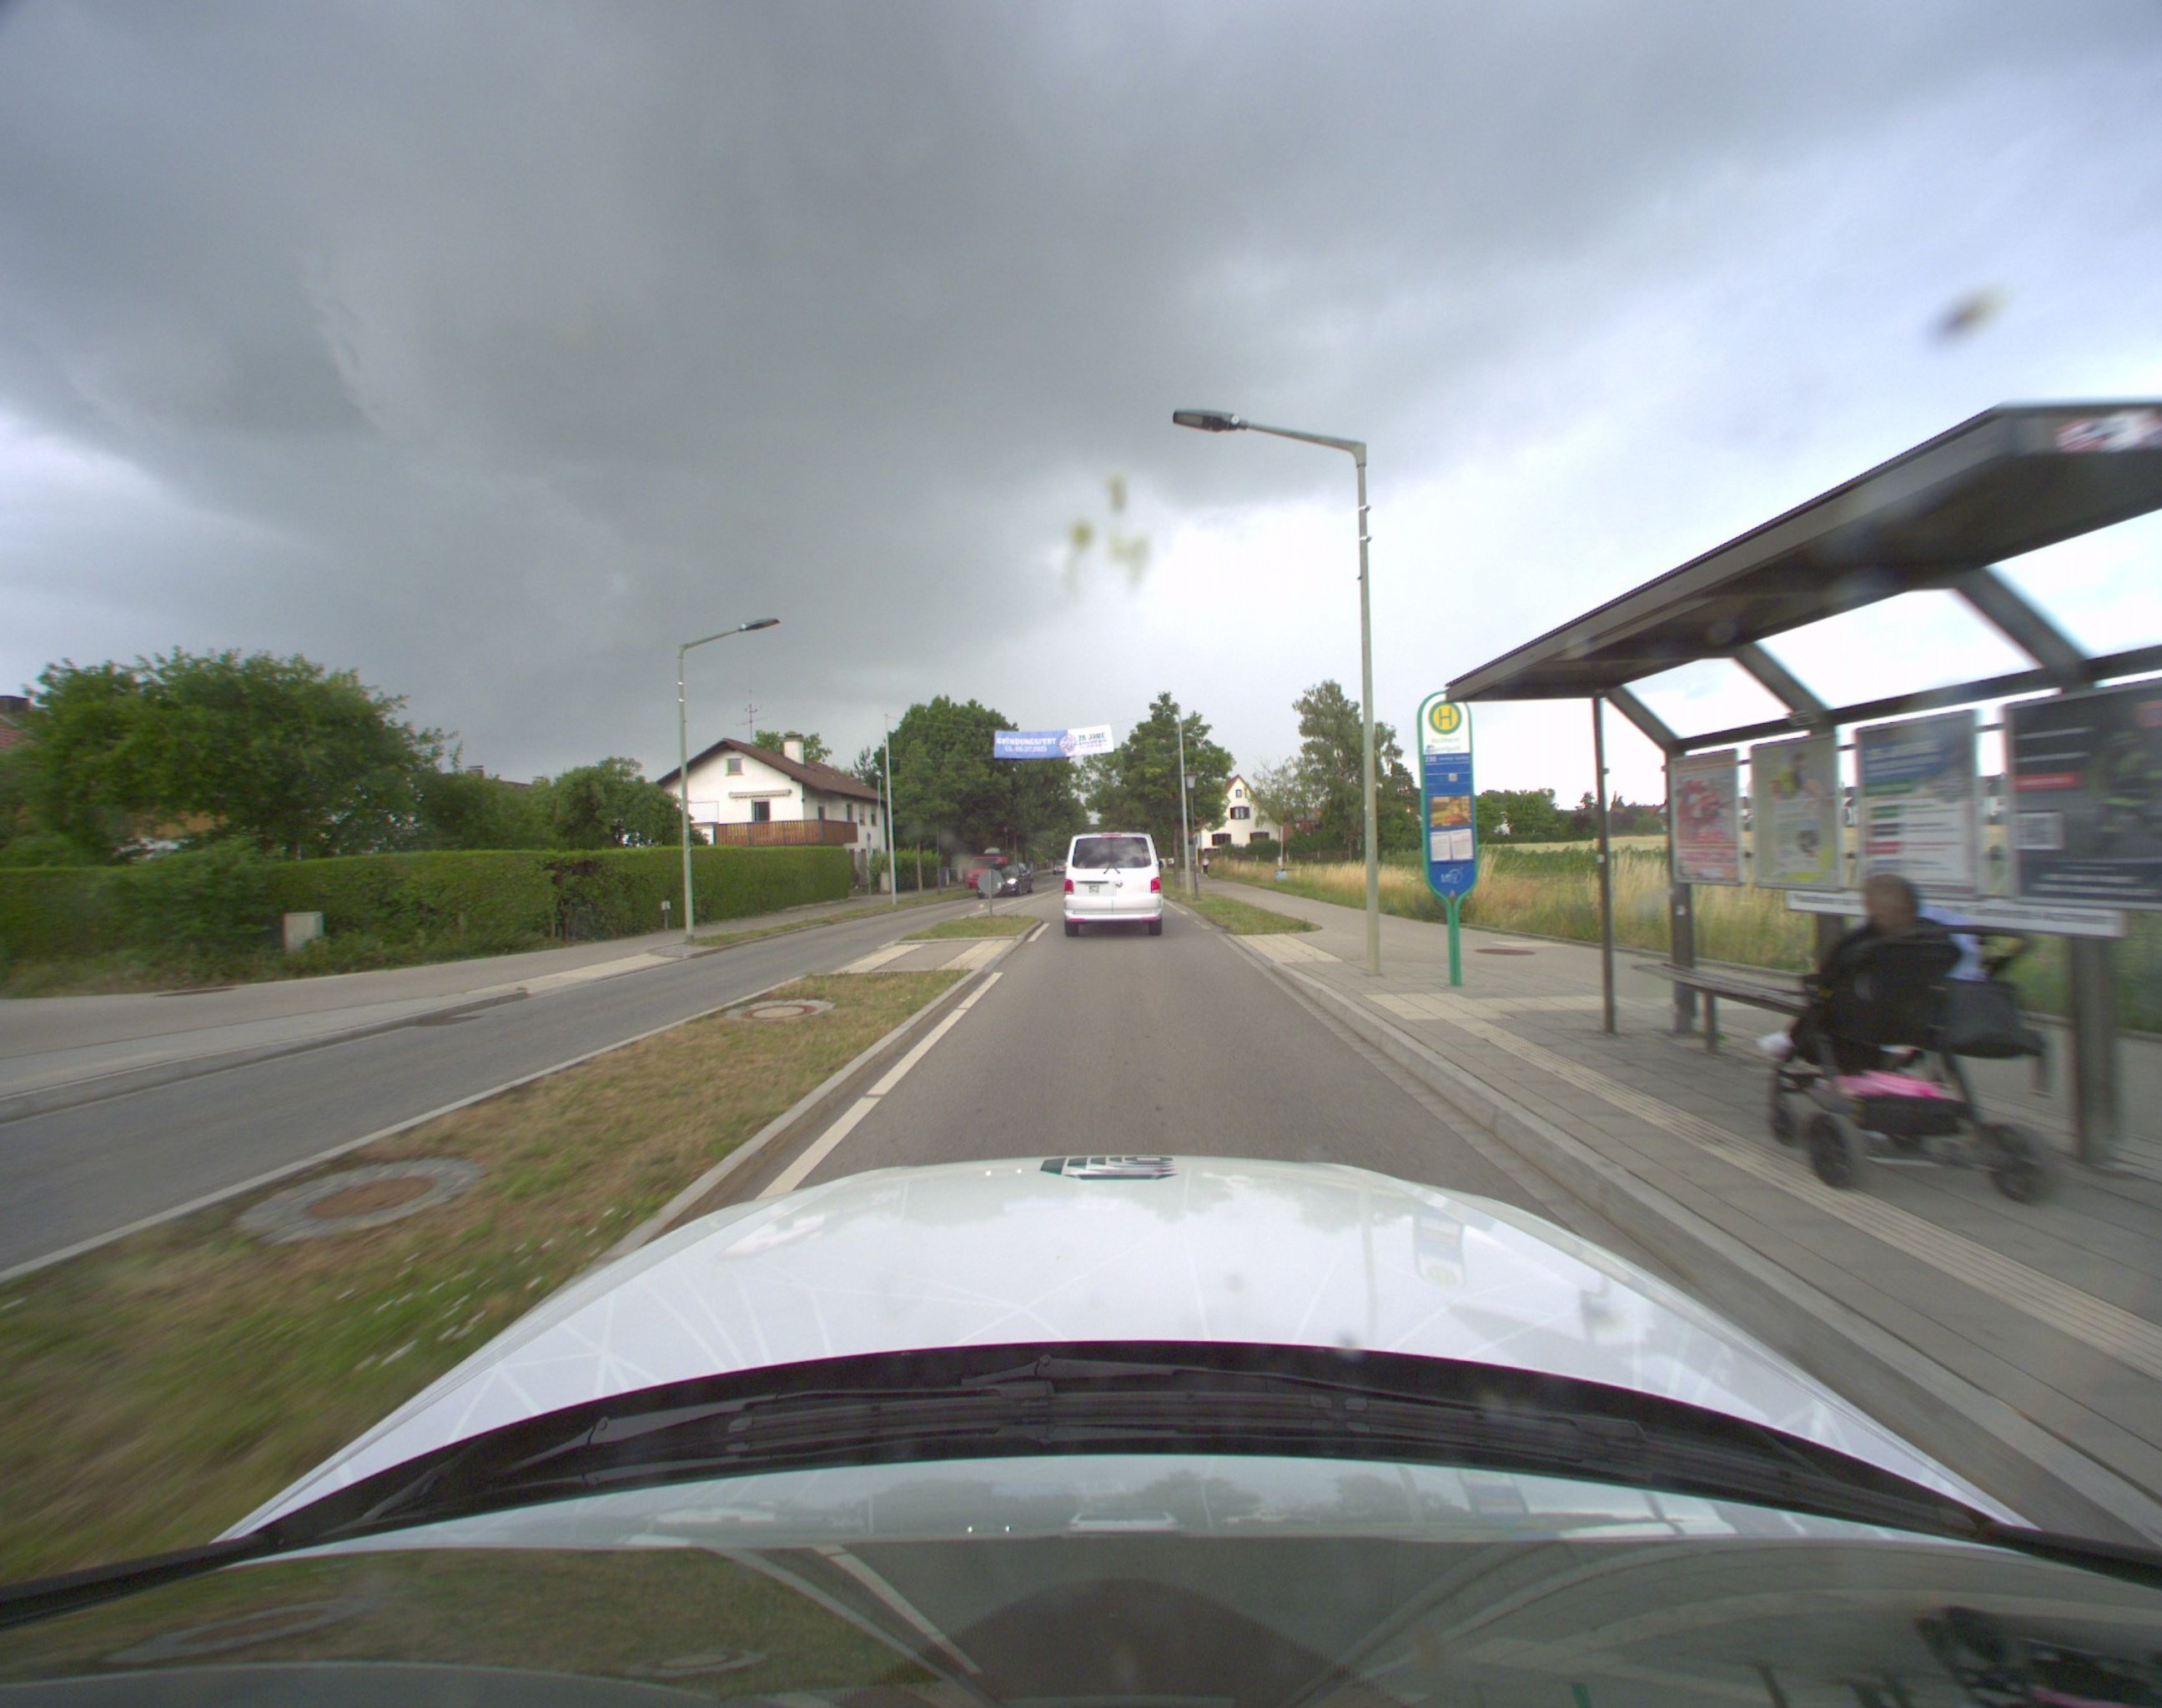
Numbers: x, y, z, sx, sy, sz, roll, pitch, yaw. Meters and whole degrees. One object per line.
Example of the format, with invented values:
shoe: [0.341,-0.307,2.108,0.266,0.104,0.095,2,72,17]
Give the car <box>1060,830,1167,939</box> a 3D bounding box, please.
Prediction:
car: [0.640,0.574,16.694,1.881,1.912,4.001,-1,-1,1]

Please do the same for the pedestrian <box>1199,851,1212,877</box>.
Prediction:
pedestrian: [8.718,0.688,57.137,0.833,1.755,0.871,-1,-1,6]

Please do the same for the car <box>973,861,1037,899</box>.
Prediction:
car: [-3.280,1.076,35.878,1.911,1.453,4.503,-2,0,6]

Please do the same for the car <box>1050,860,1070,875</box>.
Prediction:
car: [-2.319,1.470,89.609,1.699,1.532,3.512,-4,0,5]

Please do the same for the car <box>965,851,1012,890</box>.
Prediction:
car: [-5.168,0.890,45.957,1.822,2.030,5.049,0,0,3]

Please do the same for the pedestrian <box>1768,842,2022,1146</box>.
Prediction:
pedestrian: [3.753,0.601,3.805,0.660,1.302,0.506,0,-1,11]

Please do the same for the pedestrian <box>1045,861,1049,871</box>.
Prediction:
pedestrian: [-4.962,1.748,119.234,0.621,1.549,0.522,0,-1,-2]

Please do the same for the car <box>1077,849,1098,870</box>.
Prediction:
car: [0.681,0.573,82.203,1.986,2.014,4.001,0,-1,2]

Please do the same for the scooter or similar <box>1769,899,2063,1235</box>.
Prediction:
scooter or similar: [3.329,0.746,3.361,0.699,1.062,1.067,-1,-1,38]
